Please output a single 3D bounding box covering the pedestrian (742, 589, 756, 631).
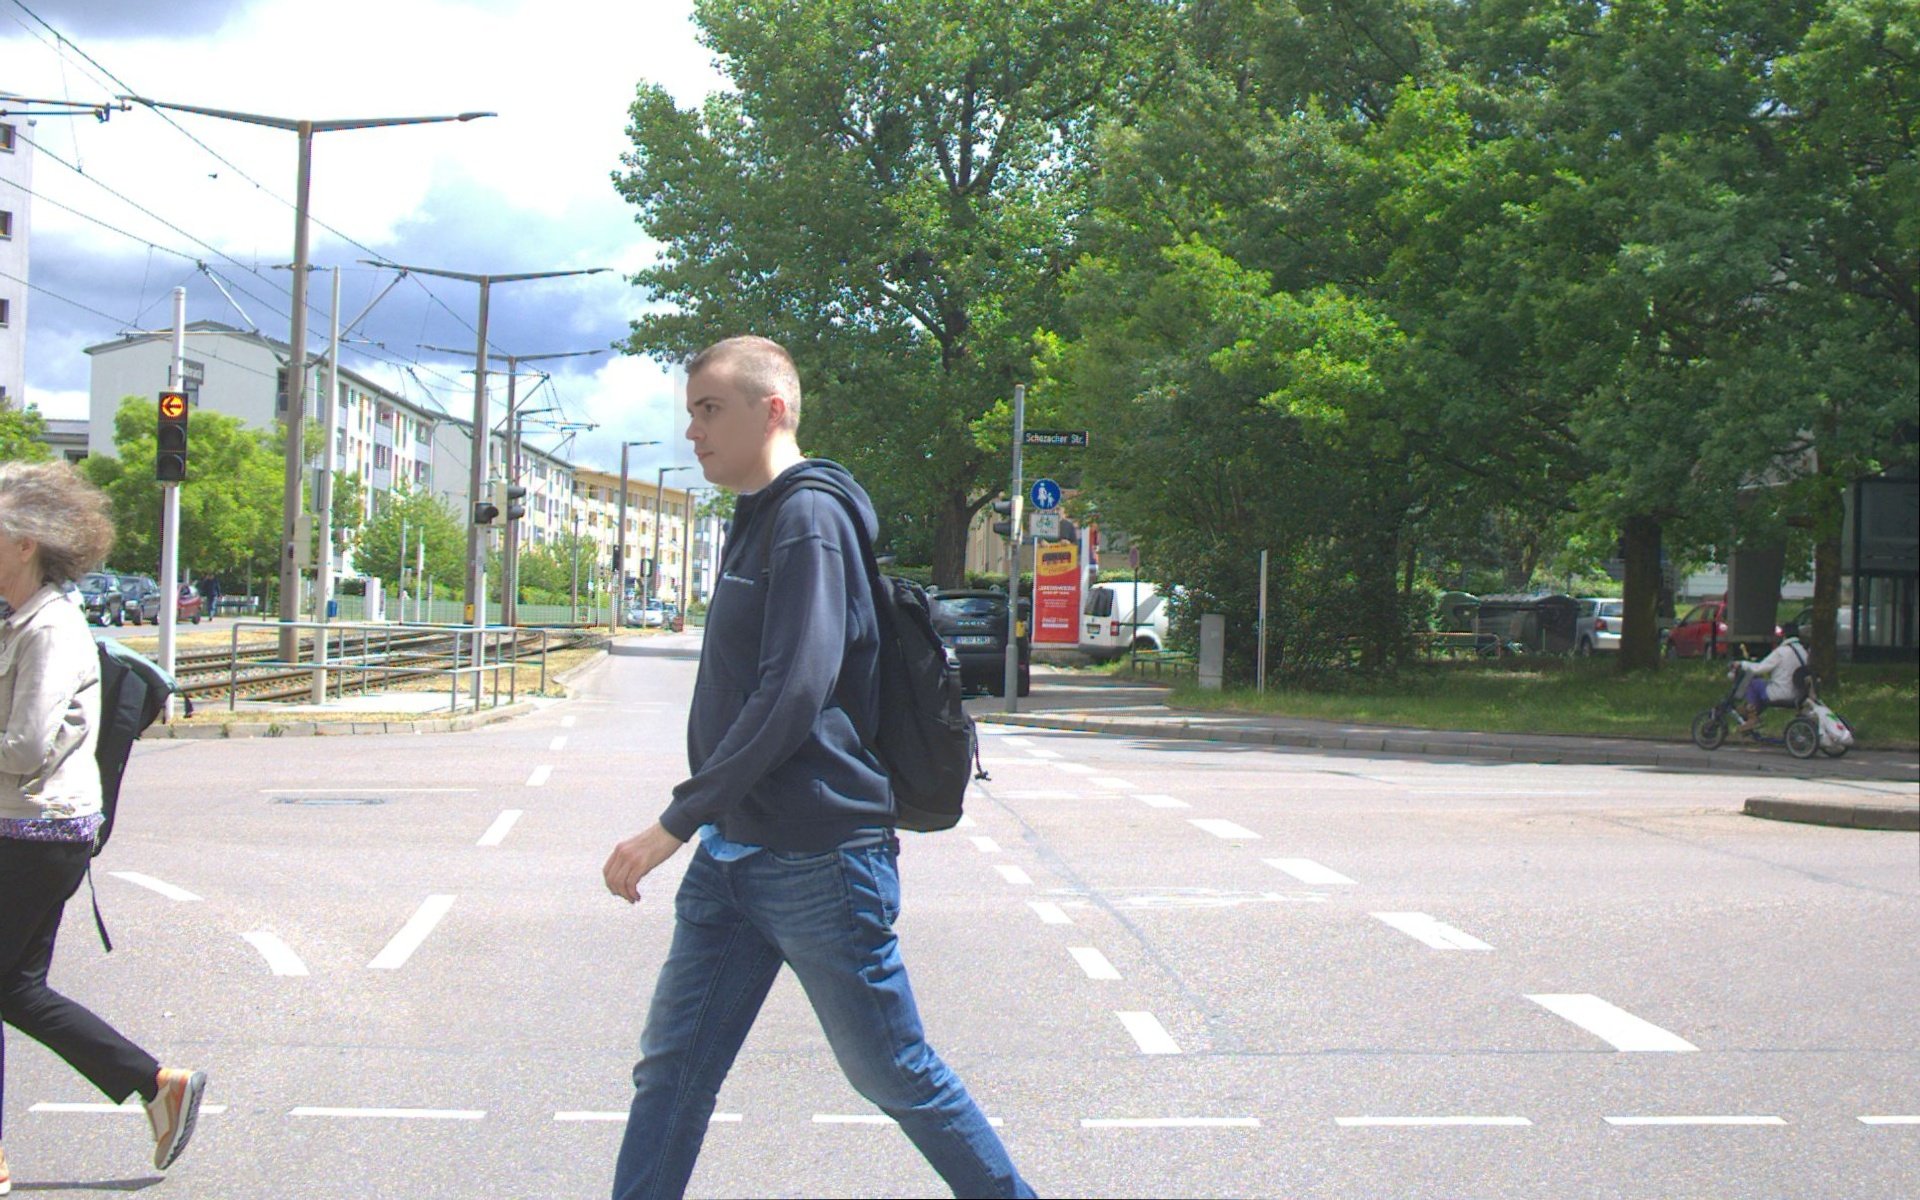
[{"bbox_3d":[-8.194,0.378,133.340,0.478,1.631,0.454,1,1,-1],"label":"pedestrian"}]

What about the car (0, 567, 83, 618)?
[{"bbox_3d":[-26.297,-0.222,98.491,1.760,1.390,4.001,1,1,-7],"label":"car"}]

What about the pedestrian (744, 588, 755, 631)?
[{"bbox_3d":[-8.176,0.367,133.358,0.333,1.622,0.358,1,1,-18],"label":"pedestrian"}]

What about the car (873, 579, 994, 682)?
[{"bbox_3d":[-0.466,0.525,59.255,1.993,1.678,4.000,1,0,-1],"label":"car"}]

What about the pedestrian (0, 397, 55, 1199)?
[{"bbox_3d":[-2.159,0.514,6.241,0.933,1.759,0.772,1,1,-12],"label":"pedestrian"}]

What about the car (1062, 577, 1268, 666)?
[{"bbox_3d":[4.370,0.452,73.332,3.986,1.817,1.779,1,1,-23],"label":"car"}]

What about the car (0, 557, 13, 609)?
[{"bbox_3d":[-26.302,-0.460,91.089,1.760,1.390,4.001,1,1,-7],"label":"car"}]

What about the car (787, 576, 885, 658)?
[{"bbox_3d":[-2.667,0.349,74.553,1.993,1.678,4.000,1,1,-1],"label":"car"}]

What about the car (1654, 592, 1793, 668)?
[{"bbox_3d":[17.059,0.658,77.029,1.730,1.589,4.001,1,1,-8],"label":"car"}]

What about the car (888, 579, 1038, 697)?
[{"bbox_3d":[0.024,0.562,51.808,2.152,1.678,4.000,1,0,-1],"label":"car"}]

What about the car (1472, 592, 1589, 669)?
[{"bbox_3d":[12.468,0.650,75.350,1.630,1.567,4.033,1,1,-4],"label":"car"}]

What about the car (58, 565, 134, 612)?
[{"bbox_3d":[-26.374,-0.364,105.083,1.760,1.390,4.001,1,1,-7],"label":"car"}]

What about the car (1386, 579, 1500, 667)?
[{"bbox_3d":[10.441,0.477,74.578,1.630,1.804,4.033,1,1,-4],"label":"car"}]

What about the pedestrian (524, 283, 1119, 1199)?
[{"bbox_3d":[-0.270,0.442,6.201,0.966,1.935,0.897,1,1,-5],"label":"pedestrian"}]

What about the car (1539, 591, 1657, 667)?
[{"bbox_3d":[14.179,0.621,76.529,1.630,1.589,4.001,1,1,-4],"label":"car"}]

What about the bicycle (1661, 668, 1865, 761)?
[{"bbox_3d":[7.919,1.117,33.912,1.804,0.816,0.793,2,1,26],"label":"bicycle"}]

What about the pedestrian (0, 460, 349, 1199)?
[{"bbox_3d":[-2.032,0.528,7.918,0.953,1.668,0.870,0,0,15],"label":"pedestrian"}]

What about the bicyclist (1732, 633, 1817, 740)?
[{"bbox_3d":[8.025,0.843,33.857,0.635,1.019,0.793,2,1,26],"label":"bicyclist"}]
